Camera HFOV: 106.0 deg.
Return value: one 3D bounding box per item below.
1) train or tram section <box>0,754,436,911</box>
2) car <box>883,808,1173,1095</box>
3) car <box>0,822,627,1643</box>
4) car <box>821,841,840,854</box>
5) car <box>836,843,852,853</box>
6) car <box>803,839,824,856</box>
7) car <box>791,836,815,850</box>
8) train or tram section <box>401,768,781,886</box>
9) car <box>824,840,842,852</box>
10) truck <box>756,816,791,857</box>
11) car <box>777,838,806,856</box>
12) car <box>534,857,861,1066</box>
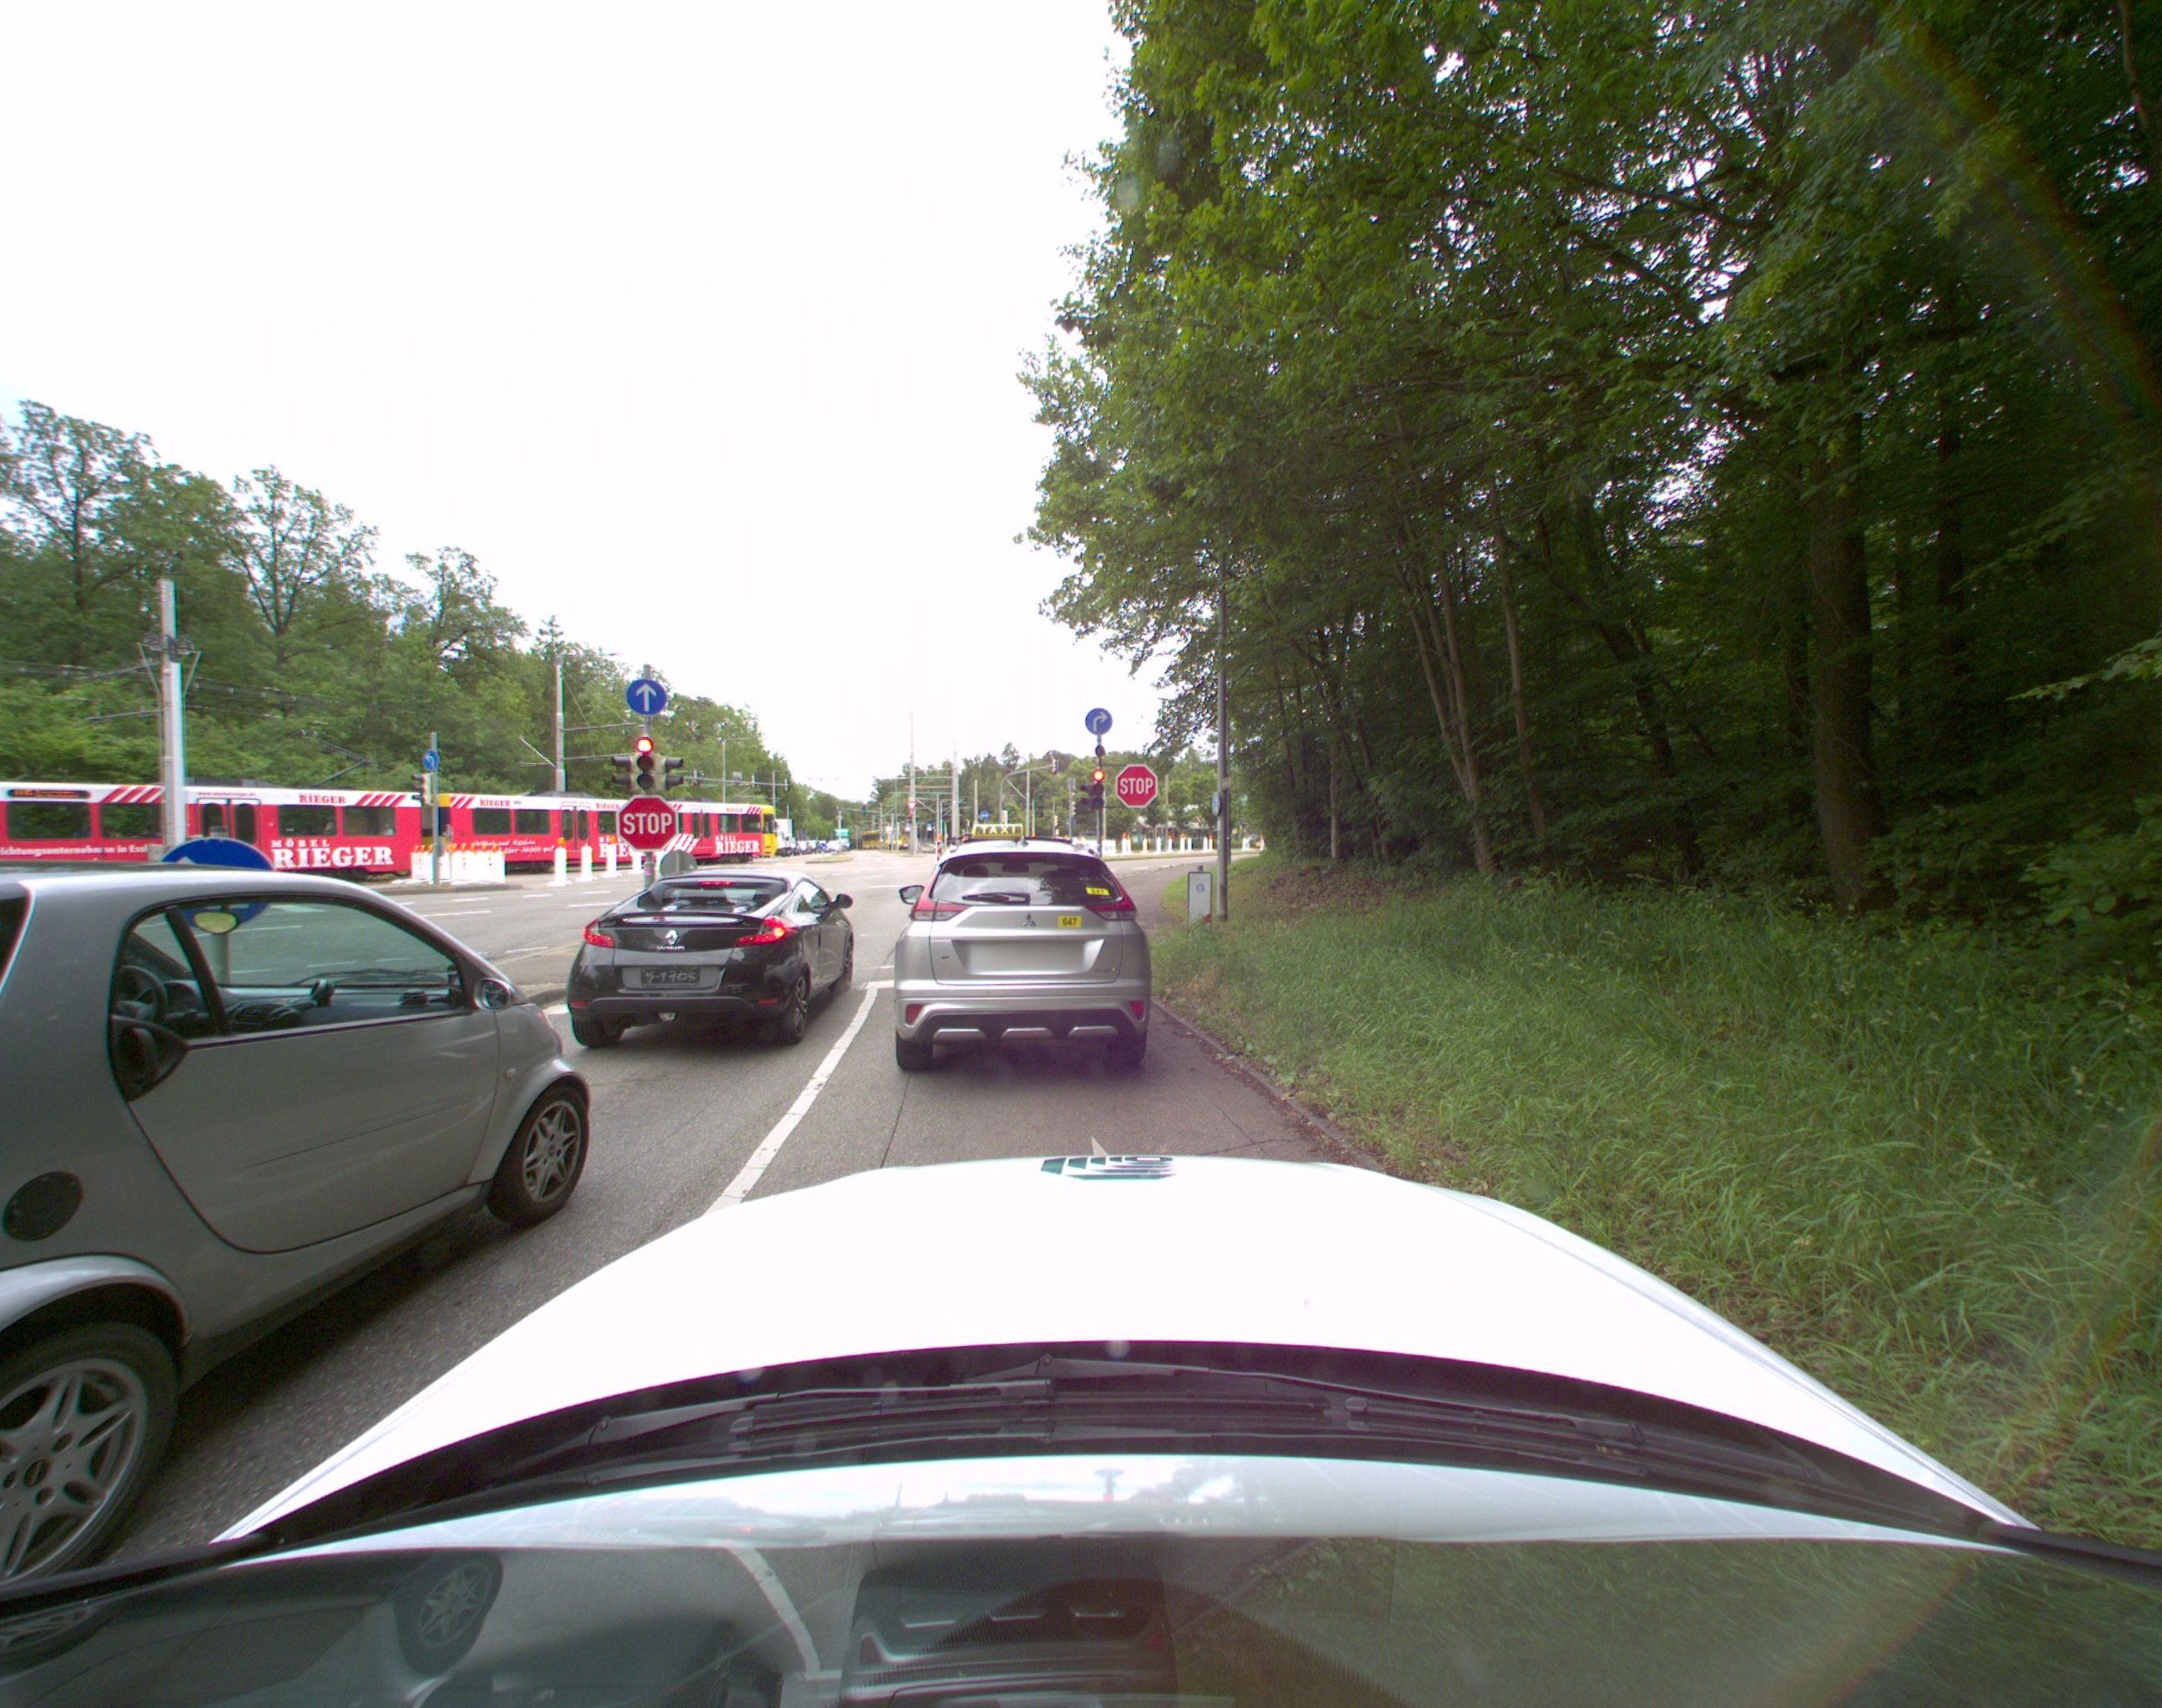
[{"bbox_3d":[-31.149,-0.591,24.296,2.927,4.418,18.846,-1,-1,31],"label":"train or tram section"},{"bbox_3d":[-0.520,0.585,6.942,1.772,1.748,3.772,1,1,-7],"label":"car"},{"bbox_3d":[-2.912,0.732,2.630,1.455,1.586,2.724,-1,1,-4],"label":"car"},{"bbox_3d":[-31.483,-0.796,102.321,1.964,1.607,4.291,-1,1,-13],"label":"car"},{"bbox_3d":[-35.218,-0.894,121.071,1.964,1.540,4.291,-1,1,-13],"label":"car"},{"bbox_3d":[-31.313,-0.793,95.451,1.964,1.844,4.669,-1,1,-13],"label":"car"},{"bbox_3d":[-29.973,-1.204,87.866,1.964,1.361,4.669,-1,1,-13],"label":"car"},{"bbox_3d":[-22.967,-1.019,41.360,2.921,4.650,18.641,-1,-1,21],"label":"train or tram section"},{"bbox_3d":[-32.889,-1.123,107.882,1.964,1.541,4.376,-1,1,-13],"label":"car"},{"bbox_3d":[-25.804,-1.421,68.539,2.456,3.224,7.109,-2,1,-19],"label":"truck"},{"bbox_3d":[-27.987,-0.705,78.936,1.963,1.749,4.827,-1,1,-11],"label":"car"},{"bbox_3d":[-3.191,0.760,7.569,1.773,1.361,3.466,-1,1,-9],"label":"car"}]
